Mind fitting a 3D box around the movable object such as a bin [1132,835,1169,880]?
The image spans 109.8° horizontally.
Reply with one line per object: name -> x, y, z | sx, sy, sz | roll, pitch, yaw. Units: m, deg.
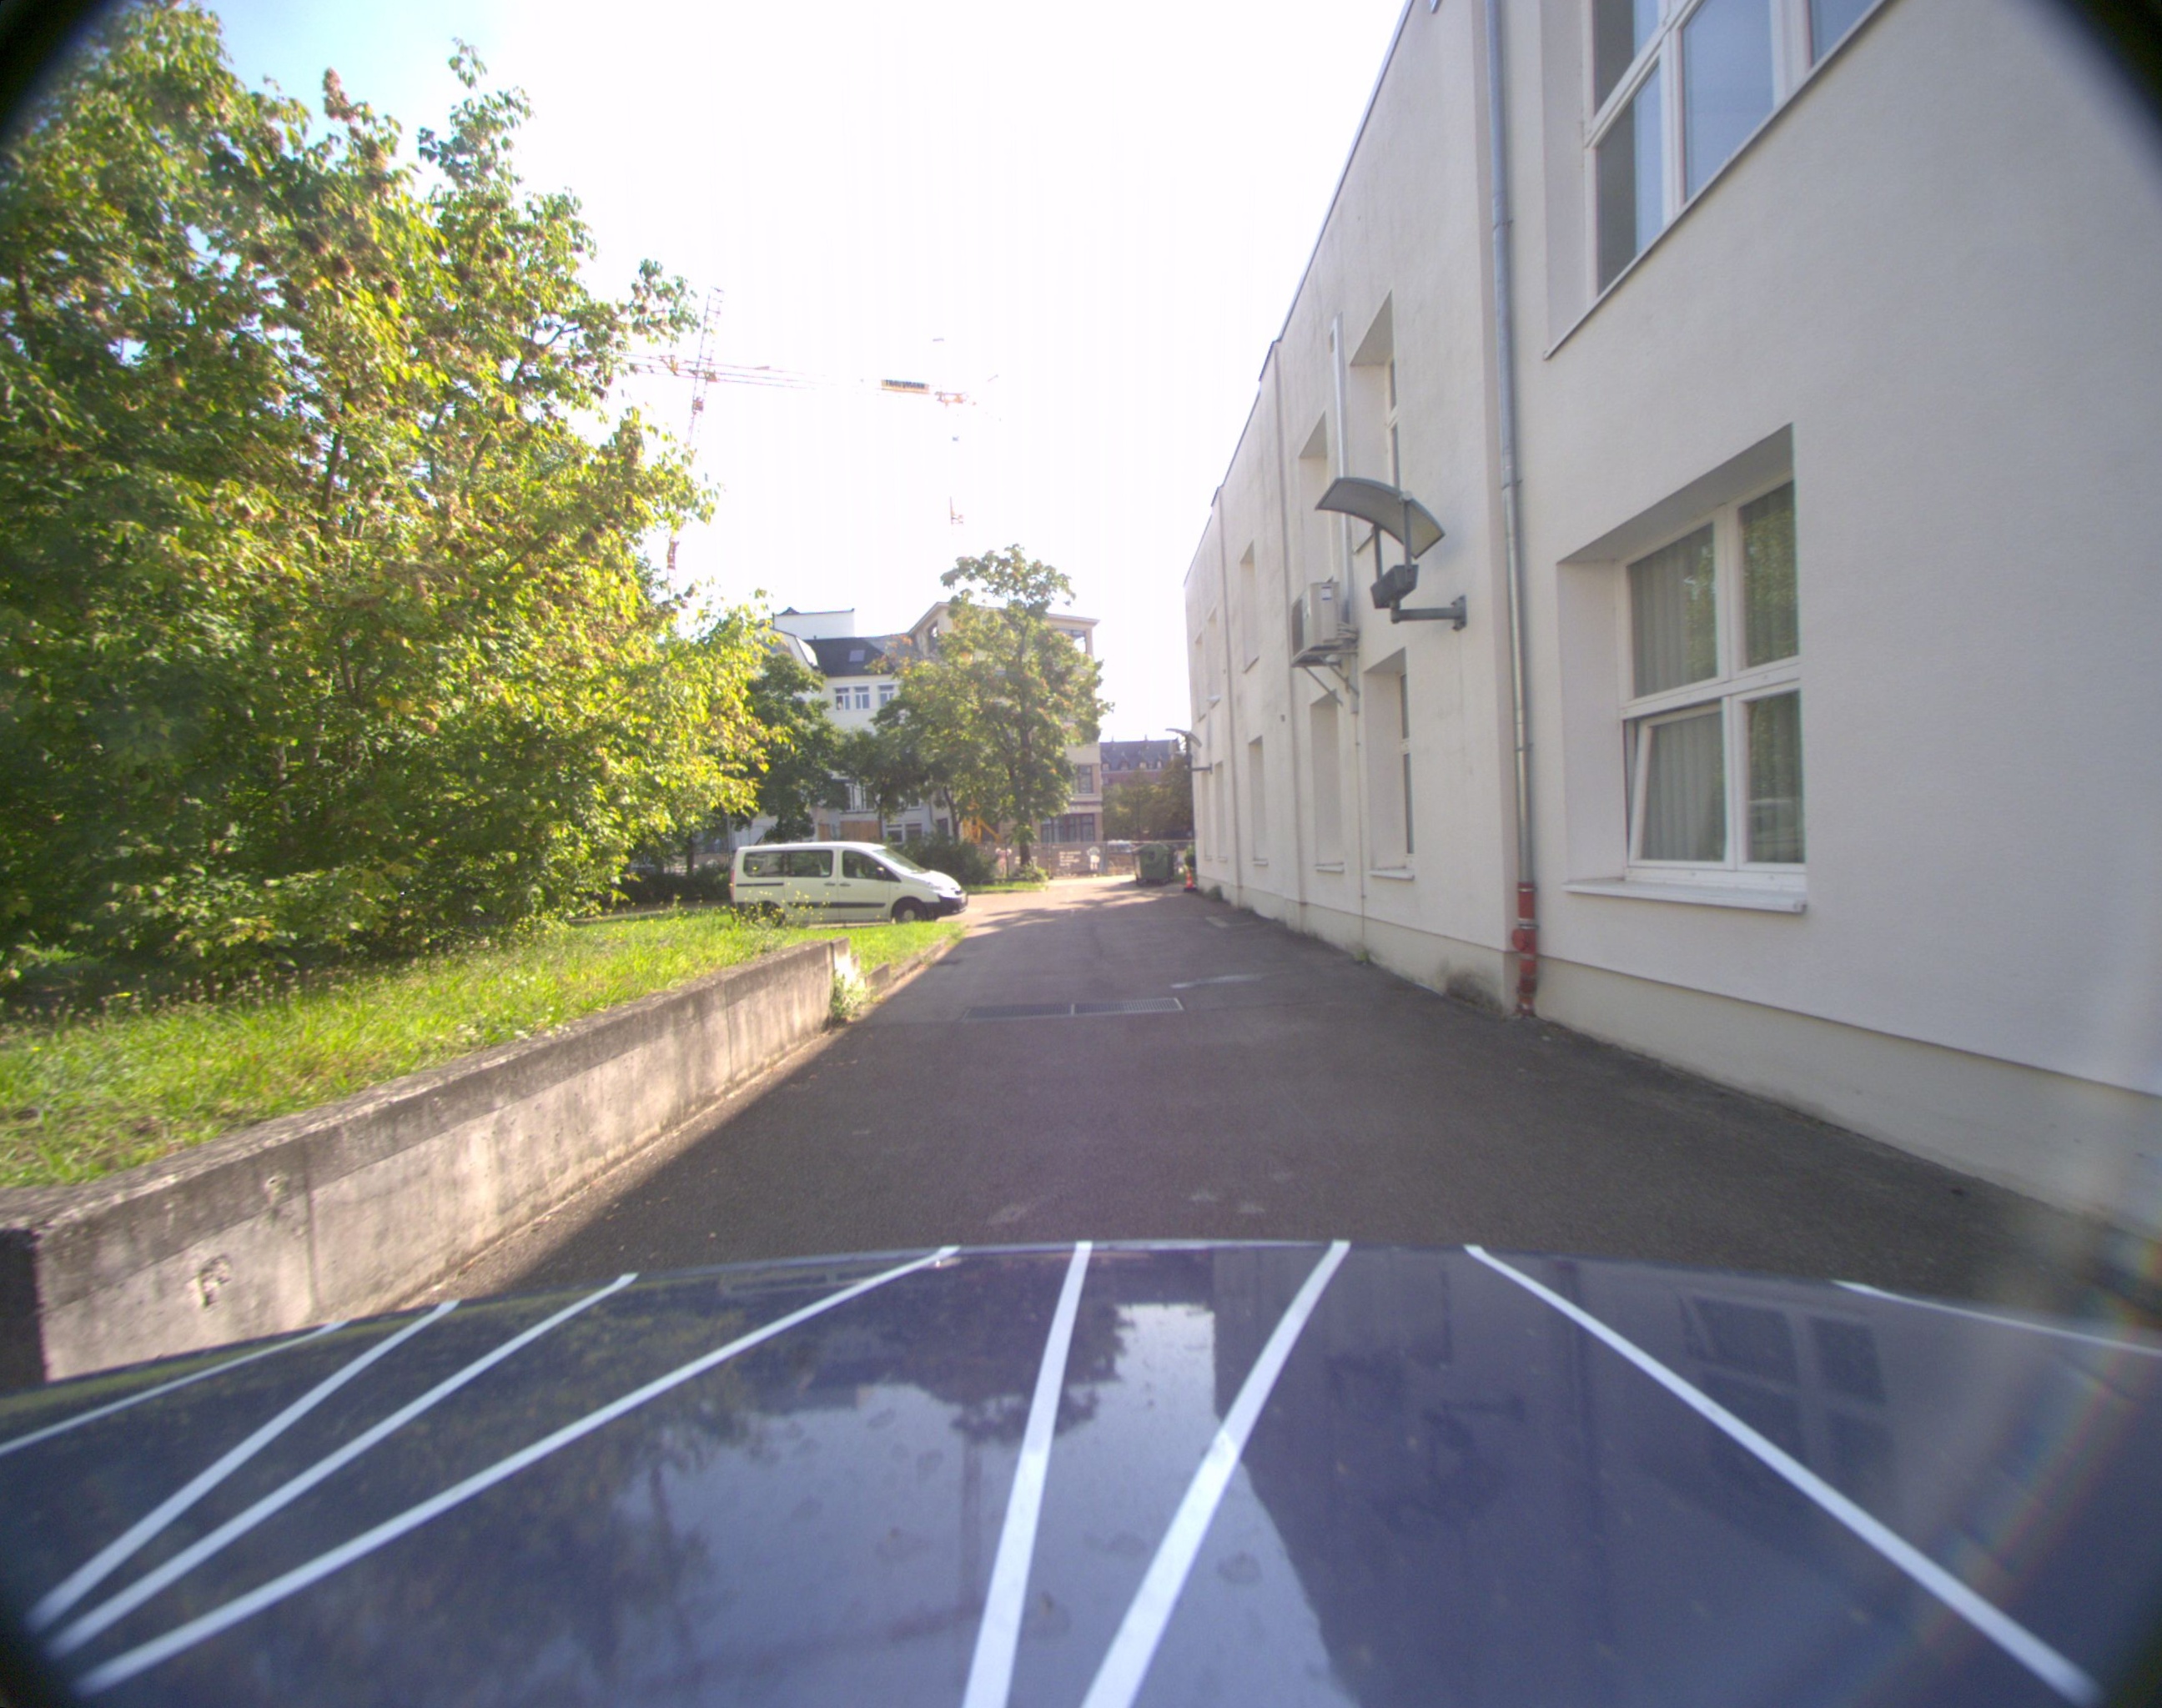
movable object such as a bin -> 2.787, 0.112, 30.482 | 1.184, 1.696, 1.376 | -3, 2, -4

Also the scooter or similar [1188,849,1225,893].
scooter or similar -> 3.808, 0.500, 23.139 | 0.386, 1.255, 1.493 | -4, 2, -19

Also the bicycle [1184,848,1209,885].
bicycle -> 4.145, 0.425, 27.404 | 0.477, 1.206, 2.007 | -3, 1, -1

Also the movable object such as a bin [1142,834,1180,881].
movable object such as a bin -> 3.048, 0.131, 29.083 | 1.184, 1.696, 1.376 | -3, 2, -4

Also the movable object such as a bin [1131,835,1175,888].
movable object such as a bin -> 2.436, 0.238, 25.879 | 1.184, 1.696, 1.376 | -3, 2, -4

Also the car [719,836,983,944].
car -> -4.828, 0.724, 16.517 | 4.969, 1.910, 2.043 | -4, 2, 2

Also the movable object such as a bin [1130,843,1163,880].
movable object such as a bin -> 2.749, 0.302, 31.886 | 1.037, 1.489, 1.106 | -3, 2, -11

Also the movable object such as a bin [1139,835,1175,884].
movable object such as a bin -> 2.760, 0.179, 27.677 | 1.183, 1.696, 1.395 | -3, 2, 4
